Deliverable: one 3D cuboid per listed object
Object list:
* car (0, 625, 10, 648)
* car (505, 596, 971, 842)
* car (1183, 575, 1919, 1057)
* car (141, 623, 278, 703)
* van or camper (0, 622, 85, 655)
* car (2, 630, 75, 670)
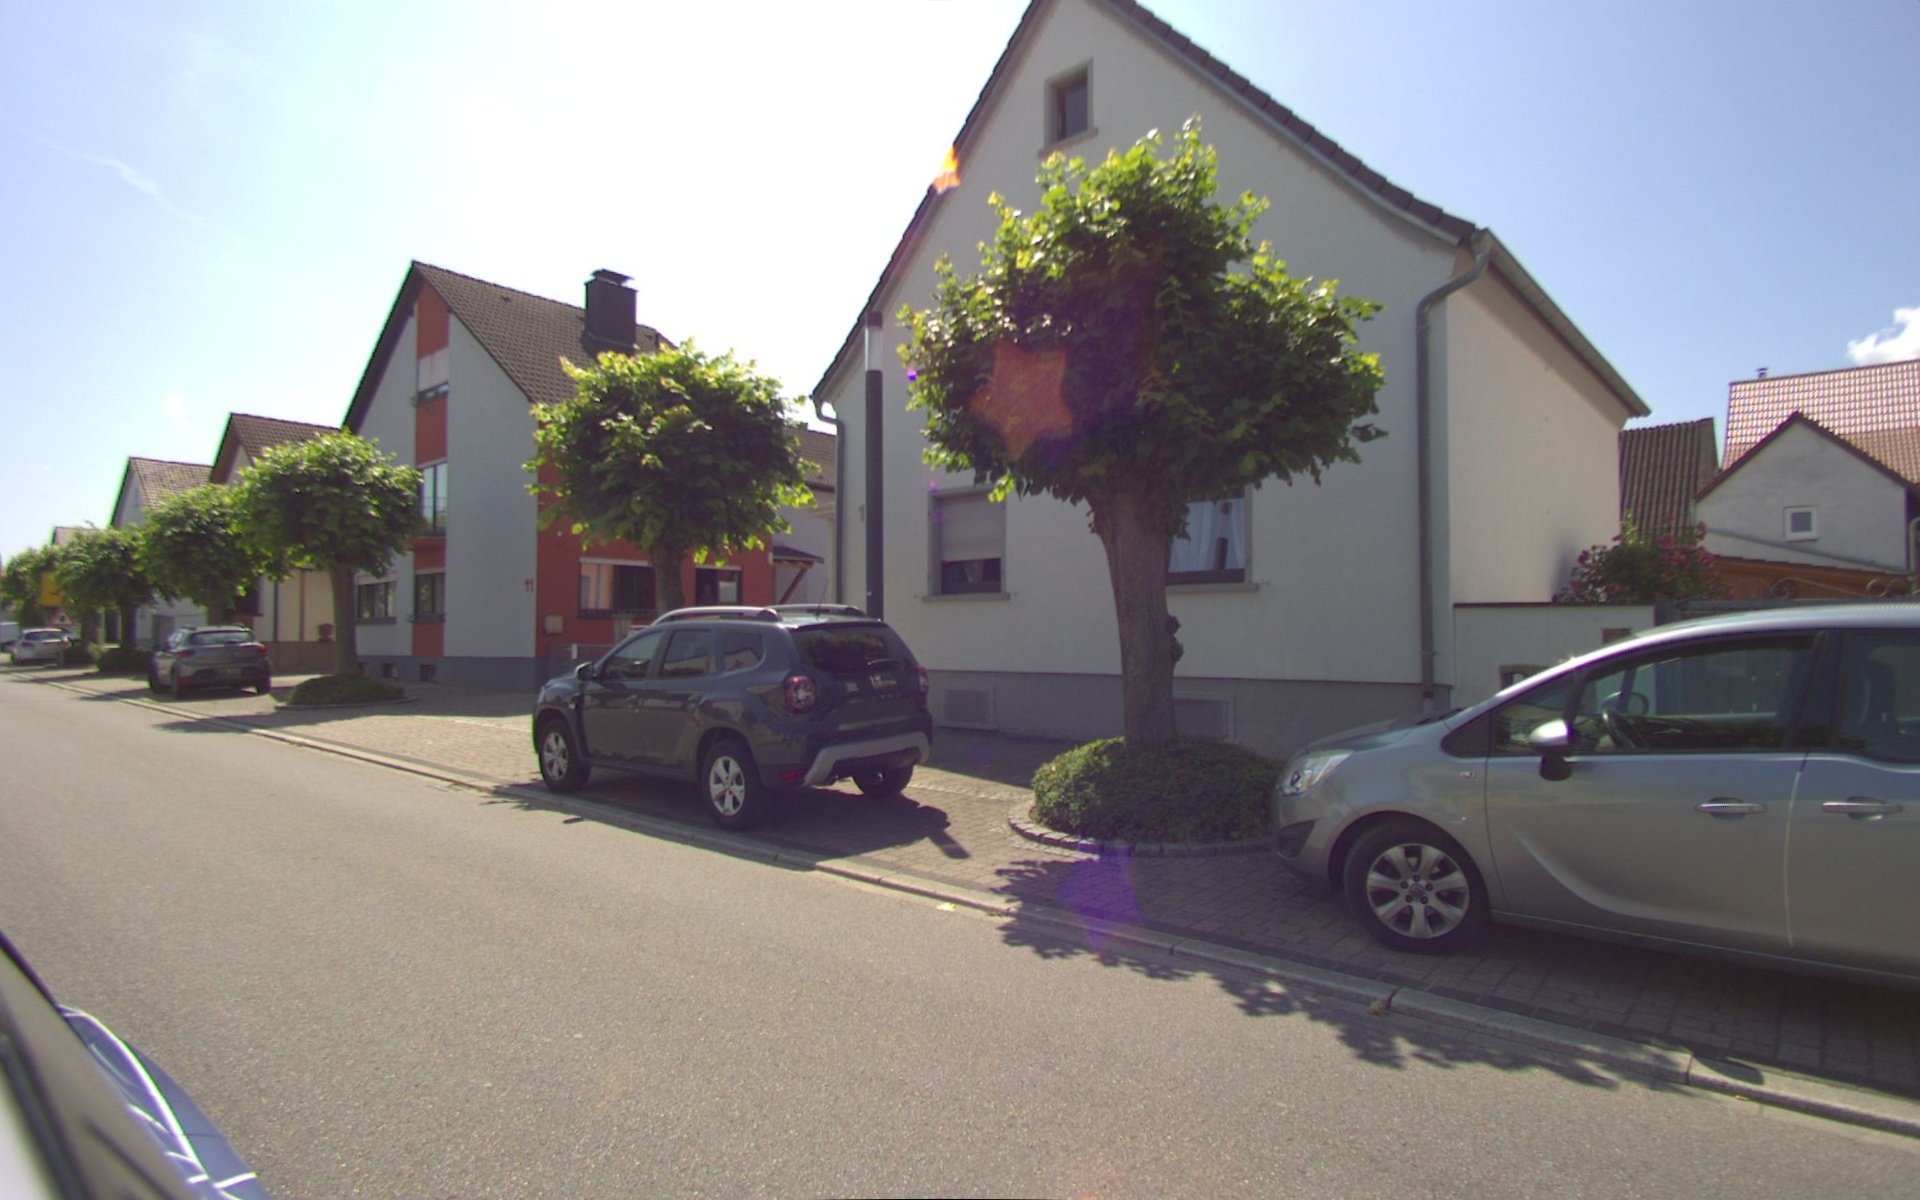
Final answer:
[{"bbox_3d":[-76.149,2.884,77.844,1.941,1.732,4.202,-1,0,35],"label":"car"},{"bbox_3d":[-2.147,0.881,9.006,4.297,1.649,1.833,-3,-1,41],"label":"car"},{"bbox_3d":[3.402,0.723,4.478,4.369,1.625,1.833,-1,0,41],"label":"car"},{"bbox_3d":[-17.331,1.375,23.291,4.135,1.625,1.832,-2,0,43],"label":"car"},{"bbox_3d":[-57.315,2.374,62.495,1.999,1.876,4.692,-3,-1,40],"label":"van or camper"},{"bbox_3d":[-38.271,2.043,42.001,4.131,1.494,1.805,-1,0,42],"label":"car"}]
